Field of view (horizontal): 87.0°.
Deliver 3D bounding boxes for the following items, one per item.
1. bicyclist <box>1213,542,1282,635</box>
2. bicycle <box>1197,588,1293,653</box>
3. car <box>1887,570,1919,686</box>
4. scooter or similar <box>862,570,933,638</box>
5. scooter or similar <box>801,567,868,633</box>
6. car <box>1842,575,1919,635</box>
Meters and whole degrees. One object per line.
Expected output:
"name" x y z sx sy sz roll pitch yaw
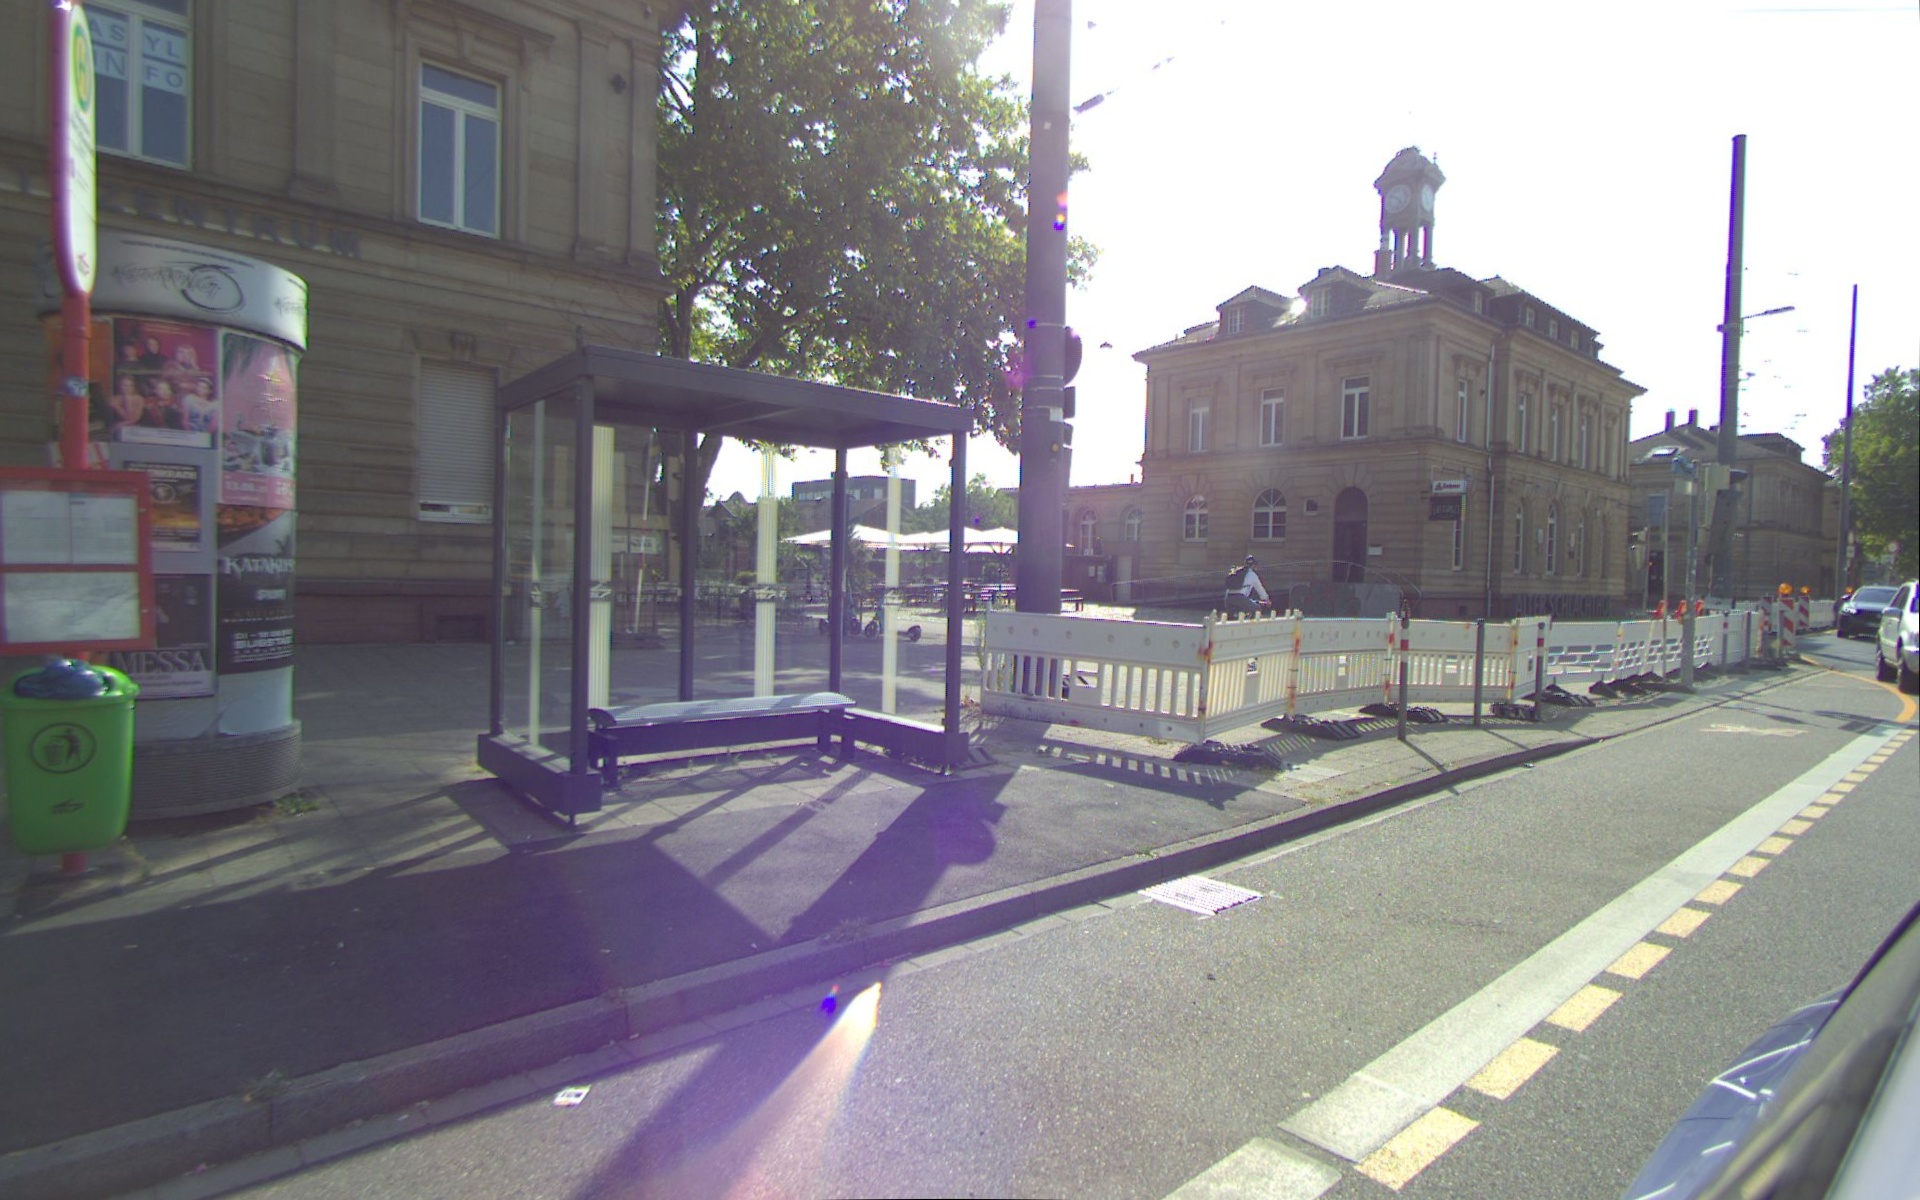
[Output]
"bicyclist" 5.021 -0.202 17.655 0.939 1.562 0.718 1 2 -43
"bicycle" 4.980 0.345 17.645 1.870 1.055 0.718 0 2 -43
"car" 16.482 0.438 16.414 1.993 1.716 5.146 4 3 42
"scooter or similar" -1.204 0.072 19.413 1.228 1.225 0.423 3 1 -18
"scooter or similar" -2.516 -0.002 20.260 1.242 1.225 0.419 4 1 25
"car" 29.422 0.141 31.832 5.137 1.716 1.996 0 2 -43
